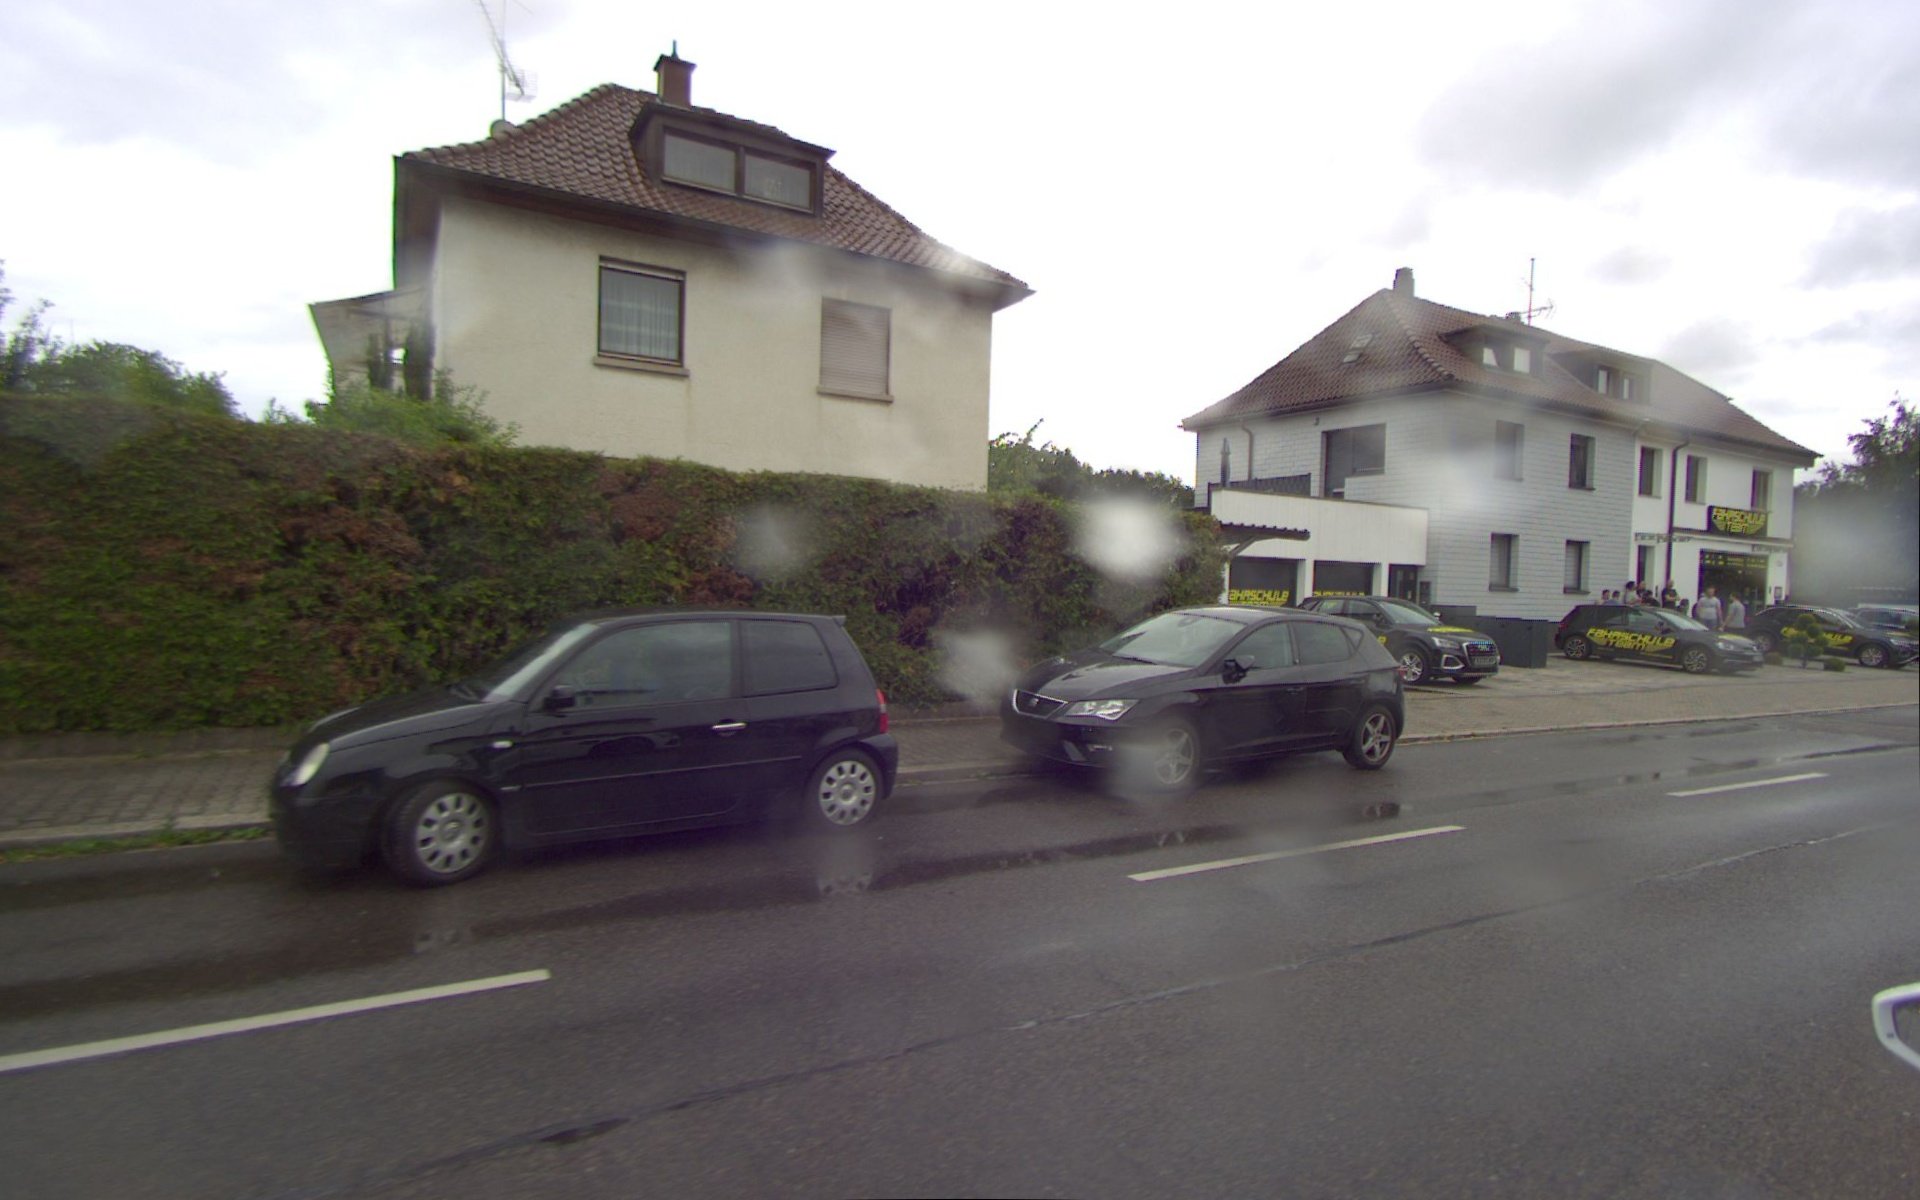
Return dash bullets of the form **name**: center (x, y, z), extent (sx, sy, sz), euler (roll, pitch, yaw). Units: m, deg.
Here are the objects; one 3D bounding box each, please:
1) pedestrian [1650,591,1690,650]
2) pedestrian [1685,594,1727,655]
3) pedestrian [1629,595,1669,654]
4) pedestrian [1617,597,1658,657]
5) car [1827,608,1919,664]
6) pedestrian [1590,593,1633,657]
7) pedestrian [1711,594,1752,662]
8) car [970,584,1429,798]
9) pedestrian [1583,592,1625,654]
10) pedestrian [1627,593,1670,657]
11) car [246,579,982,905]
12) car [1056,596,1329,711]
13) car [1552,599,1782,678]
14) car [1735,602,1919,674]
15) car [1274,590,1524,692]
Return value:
- **pedestrian**: center (21.098, 0.612, 29.840), extent (0.641, 1.688, 0.598), euler (2, 4, -25)
- **pedestrian**: center (21.444, 0.708, 28.866), extent (0.640, 1.688, 0.599), euler (2, 4, -22)
- **pedestrian**: center (20.227, 0.719, 29.503), extent (0.641, 1.688, 0.598), euler (2, 4, -25)
- **pedestrian**: center (19.528, 0.777, 28.961), extent (0.641, 1.688, 0.598), euler (2, 4, -25)
- **car**: center (31.162, 1.256, 32.628), extent (1.834, 1.536, 4.053), euler (2, 4, -29)
- **pedestrian**: center (17.637, 0.678, 27.210), extent (0.641, 1.688, 0.598), euler (2, 4, -25)
- **pedestrian**: center (21.280, 0.774, 27.722), extent (0.643, 1.815, 0.596), euler (1, 4, -35)
- **car**: center (2.316, 0.729, 9.328), extent (4.164, 1.553, 1.746), euler (2, 1, -33)
- **pedestrian**: center (18.003, 0.641, 28.092), extent (0.641, 1.688, 0.598), euler (2, 4, -25)
- **pedestrian**: center (18.921, 0.680, 27.614), extent (0.641, 1.688, 0.598), euler (2, 4, -25)
- **car**: center (-1.948, 0.689, 6.264), extent (3.972, 1.450, 1.541), euler (2, 1, -33)
- **car**: center (3.451, 0.826, 15.603), extent (1.837, 1.536, 3.963), euler (2, -3, -34)
- **car**: center (16.803, 0.873, 24.090), extent (1.834, 1.536, 4.053), euler (2, 2, -29)
- **car**: center (25.297, 1.056, 29.083), extent (1.834, 1.536, 4.053), euler (2, 4, -29)
- **car**: center (8.131, 0.701, 18.969), extent (1.834, 1.536, 3.968), euler (2, 2, -29)
